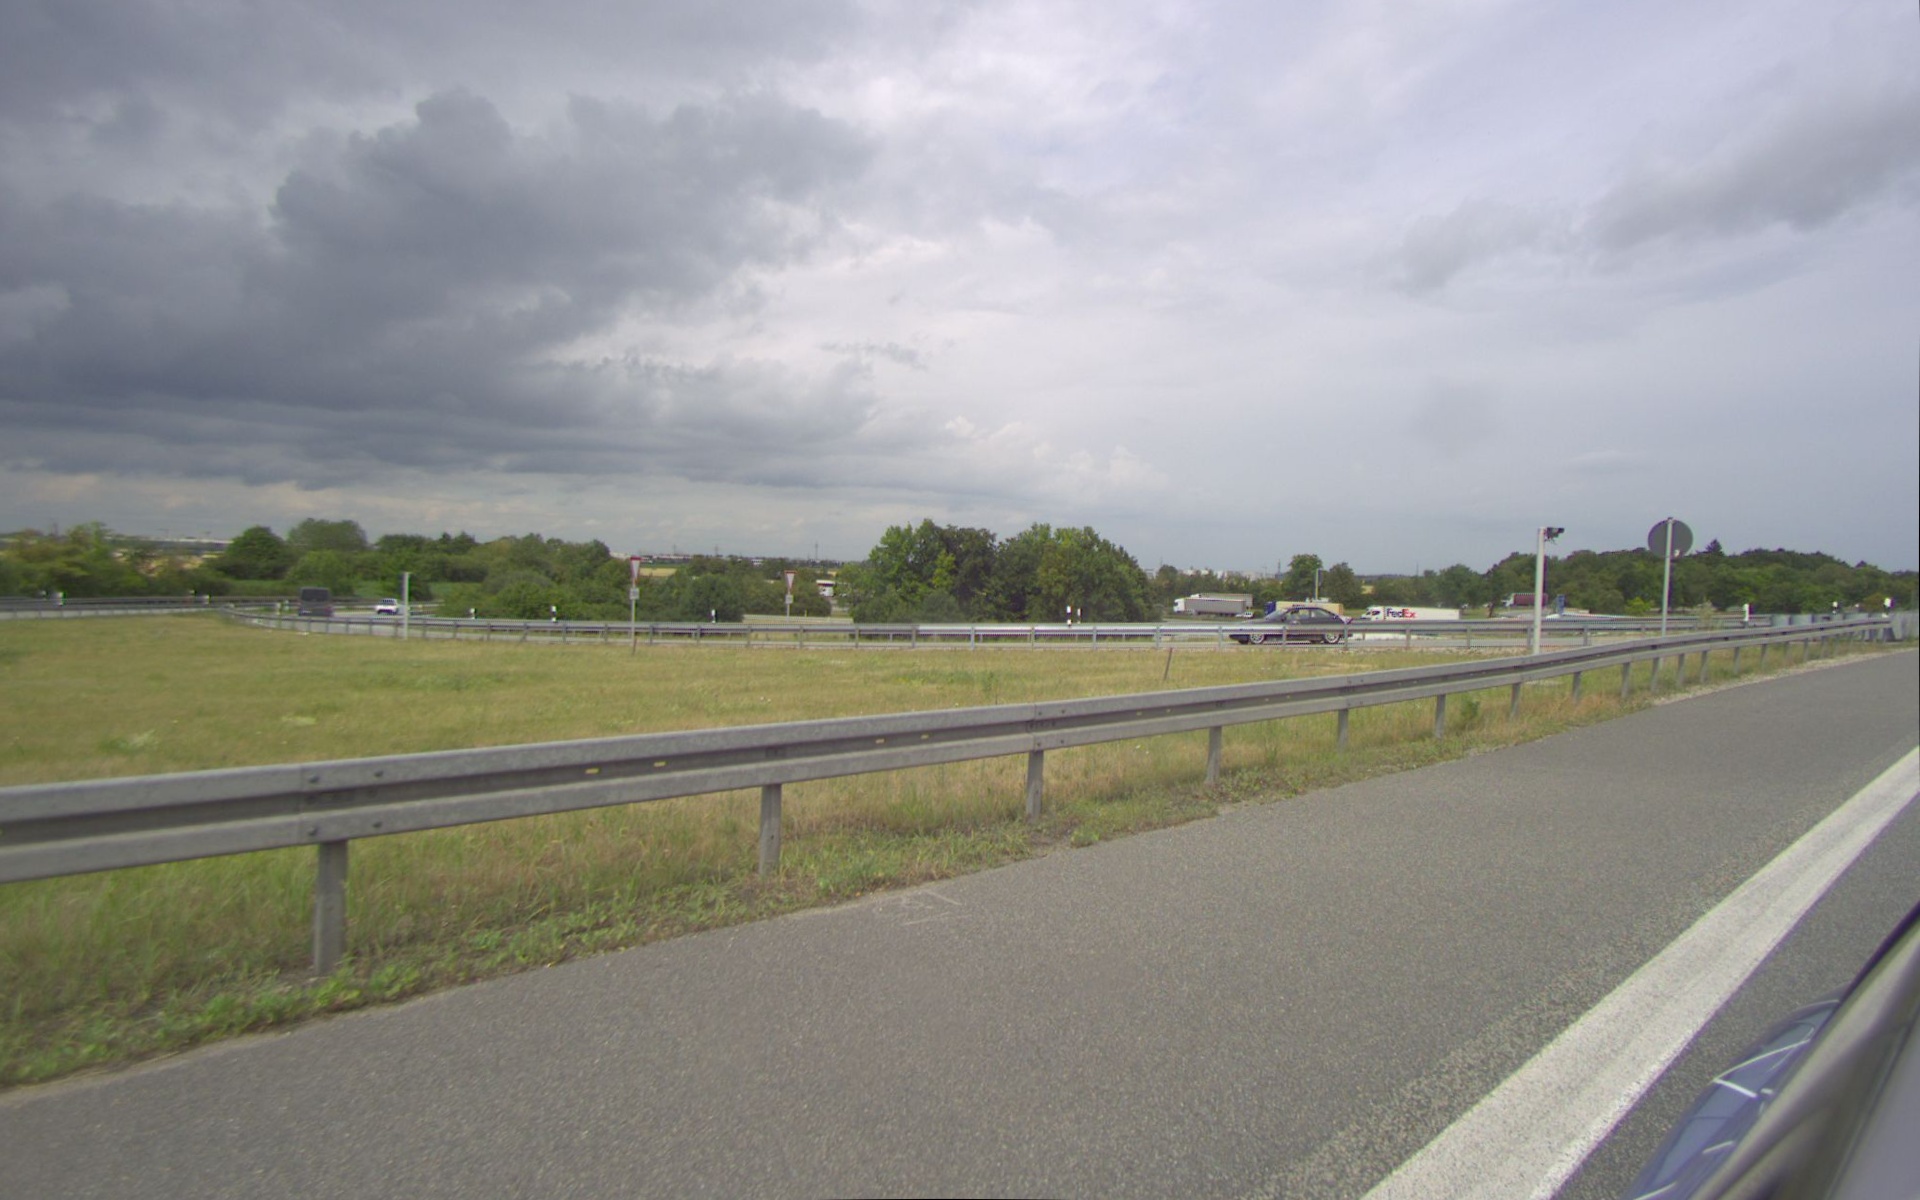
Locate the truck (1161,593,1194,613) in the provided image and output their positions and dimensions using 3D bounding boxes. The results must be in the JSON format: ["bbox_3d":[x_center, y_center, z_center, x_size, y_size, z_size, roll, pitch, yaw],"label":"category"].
[{"bbox_3d":[49.988,0.721,232.762,6.264,4.568,3.876,1,0,40],"label":"truck"}]

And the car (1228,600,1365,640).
[{"bbox_3d":[11.934,0.685,36.035,4.281,1.297,1.710,1,0,-1],"label":"car"}]

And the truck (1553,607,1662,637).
[{"bbox_3d":[114.920,3.798,179.959,16.097,4.759,3.937,1,1,40],"label":"truck"}]

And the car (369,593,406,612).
[{"bbox_3d":[-54.207,0.264,95.921,1.958,1.731,4.007,1,0,-12],"label":"car"}]

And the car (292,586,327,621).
[{"bbox_3d":[-45.139,0.220,70.195,1.876,2.290,4.650,1,0,-34],"label":"car"}]

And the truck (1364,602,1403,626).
[{"bbox_3d":[85.297,2.739,203.873,6.263,4.568,3.876,1,0,40],"label":"truck"}]

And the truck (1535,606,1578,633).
[{"bbox_3d":[109.021,3.557,184.859,6.262,4.733,3.877,1,1,39],"label":"truck"}]

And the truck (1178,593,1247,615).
[{"bbox_3d":[56.626,0.852,227.086,14.818,4.612,3.950,1,0,40],"label":"truck"}]

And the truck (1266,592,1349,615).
[{"bbox_3d":[73.359,0.630,214.185,16.288,4.612,3.951,1,0,40],"label":"truck"}]

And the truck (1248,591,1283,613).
[{"bbox_3d":[66.402,0.410,219.922,6.263,4.568,3.877,1,0,39],"label":"truck"}]

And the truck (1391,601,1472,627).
[{"bbox_3d":[92.225,2.688,198.167,13.723,4.612,3.952,1,0,39],"label":"truck"}]
